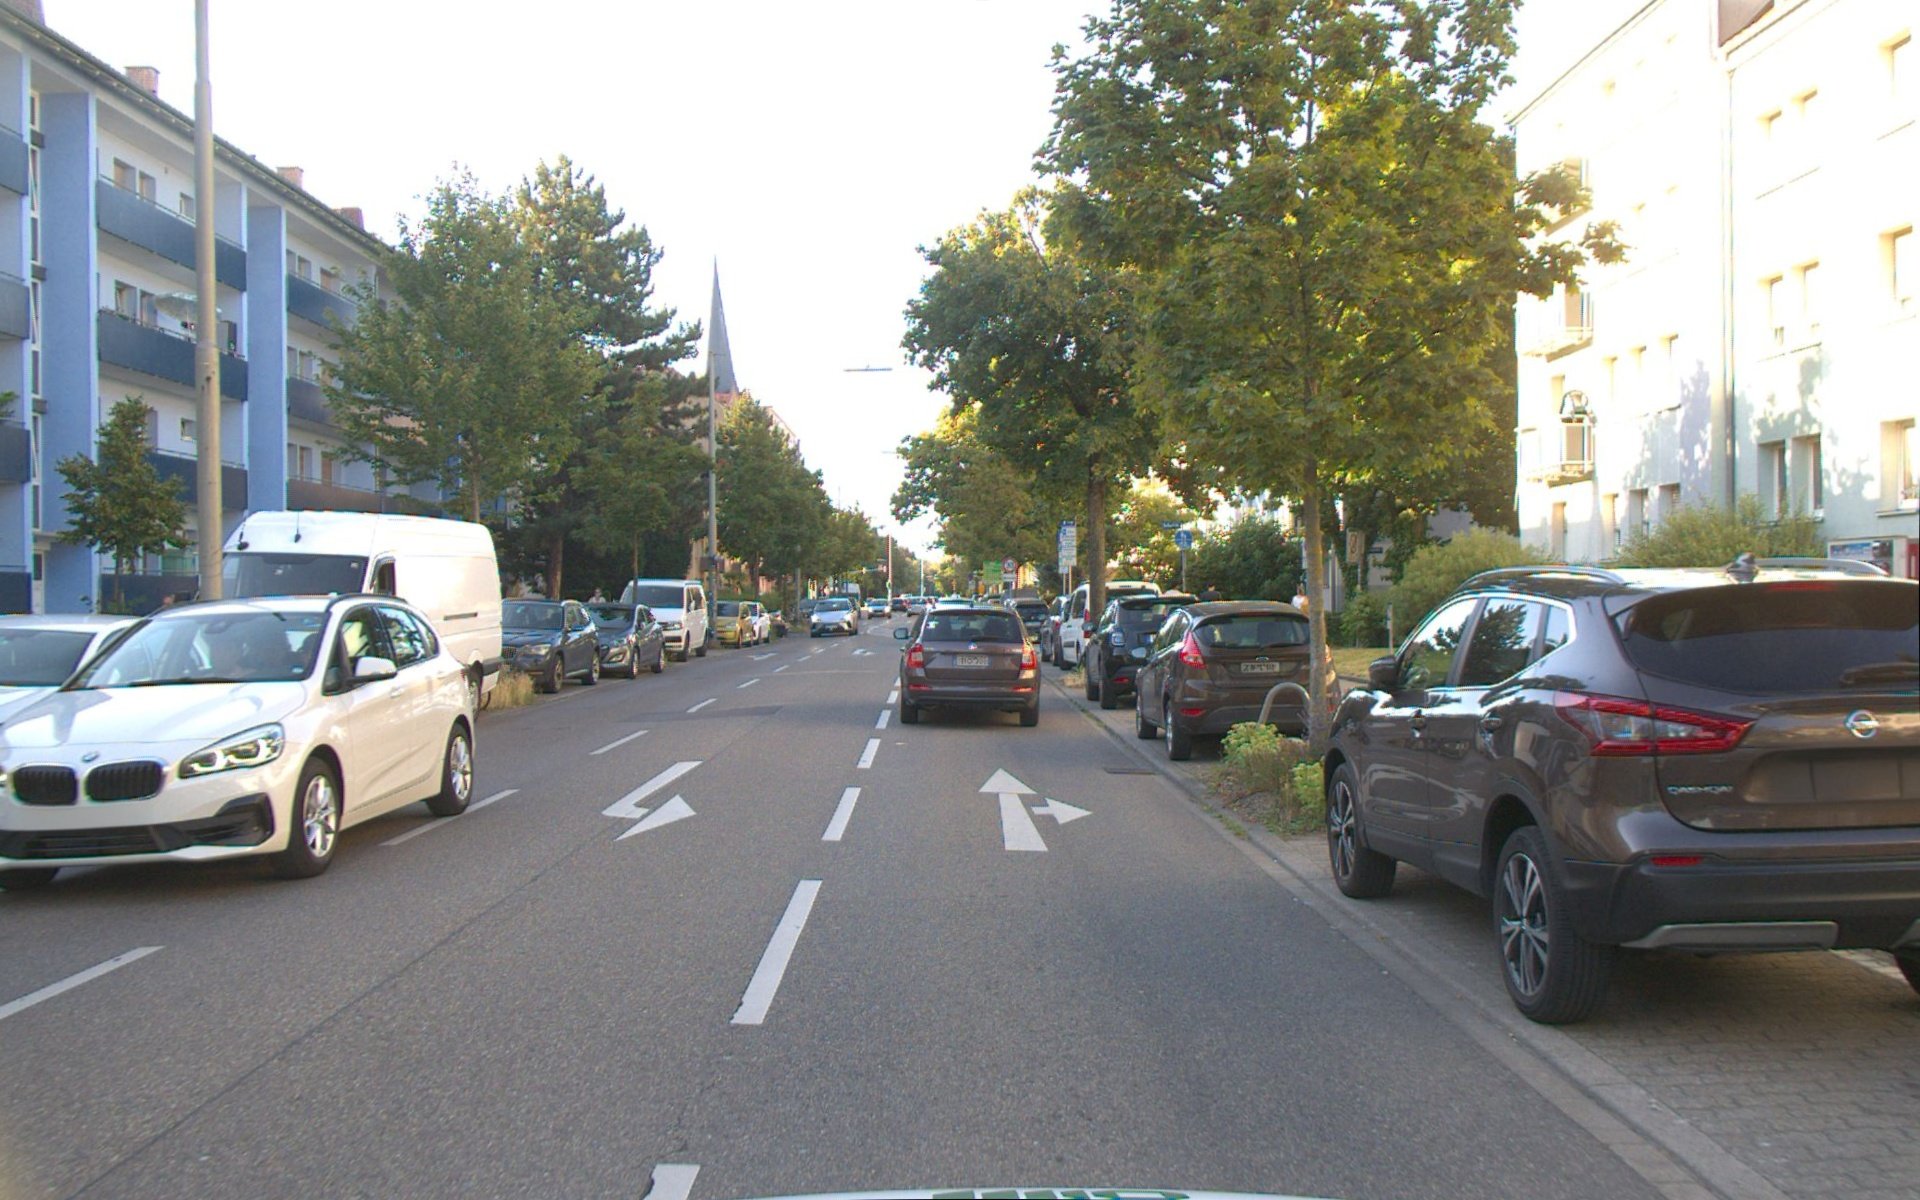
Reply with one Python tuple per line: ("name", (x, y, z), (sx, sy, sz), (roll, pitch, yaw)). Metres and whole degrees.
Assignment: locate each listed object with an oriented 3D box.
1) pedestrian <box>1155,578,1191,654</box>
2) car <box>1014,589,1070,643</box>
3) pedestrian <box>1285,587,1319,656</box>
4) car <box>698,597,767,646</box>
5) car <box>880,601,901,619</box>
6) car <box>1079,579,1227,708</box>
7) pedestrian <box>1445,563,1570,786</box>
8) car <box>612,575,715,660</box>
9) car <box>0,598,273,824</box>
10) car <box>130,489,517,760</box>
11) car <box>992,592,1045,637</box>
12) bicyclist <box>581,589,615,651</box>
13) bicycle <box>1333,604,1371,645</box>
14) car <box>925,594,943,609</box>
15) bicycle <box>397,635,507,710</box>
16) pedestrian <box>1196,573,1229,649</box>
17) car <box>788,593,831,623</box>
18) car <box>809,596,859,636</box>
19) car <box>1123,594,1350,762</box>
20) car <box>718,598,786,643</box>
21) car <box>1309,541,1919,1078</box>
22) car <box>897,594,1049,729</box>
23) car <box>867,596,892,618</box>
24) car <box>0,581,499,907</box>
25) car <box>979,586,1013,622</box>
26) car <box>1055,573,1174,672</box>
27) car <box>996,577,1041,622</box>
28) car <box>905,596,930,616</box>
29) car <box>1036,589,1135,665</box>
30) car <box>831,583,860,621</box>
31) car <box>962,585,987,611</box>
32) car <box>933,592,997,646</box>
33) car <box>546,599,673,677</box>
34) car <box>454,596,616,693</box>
("pedestrian", (5.460, 0.404, 42.401), (0.733, 1.893, 1.067), (-1, 0, -2))
("car", (2.754, 0.518, 56.316), (1.718, 1.716, 4.252), (1, 0, 1))
("pedestrian", (8.920, 0.555, 43.167), (0.781, 1.752, 0.745), (-1, 0, 8))
("car", (-7.304, 0.669, 53.404), (1.585, 1.506, 3.872), (1, 0, 1))
("car", (-7.127, 1.022, 169.385), (1.955, 1.780, 3.995), (0, 0, -6))
("car", (2.740, 0.585, 24.324), (1.718, 1.692, 4.252), (-1, 0, 1))
("pedestrian", (4.371, 0.578, 13.249), (0.771, 1.730, 0.808), (0, -1, 4))
("car", (-7.641, 0.416, 43.075), (1.831, 2.067, 5.299), (0, 0, -1))
("car", (-7.353, 0.776, 13.624), (1.672, 1.518, 4.058), (2, 0, -1))
("car", (-7.248, 0.234, 19.929), (1.953, 2.662, 7.104), (1, 0, -1))
("car", (2.177, 0.541, 62.484), (1.719, 1.584, 4.102), (1, 0, -2))
("bicyclist", (-9.576, 0.533, 43.787), (0.590, 1.621, 0.940), (-1, 0, 7))
("bicycle", (9.492, 0.586, 40.066), (0.465, 0.961, 1.680), (-1, 0, -1))
("car", (-2.766, 0.146, 178.311), (1.613, 1.627, 3.645), (0, 0, -6))
("bicycle", (-7.335, 1.040, 23.892), (1.441, 1.032, 0.440), (1, 0, 7))
("pedestrian", (6.365, 0.271, 41.667), (0.781, 1.893, 0.951), (-1, 0, 10))
("car", (-7.869, 0.397, 86.511), (1.744, 1.506, 4.034), (1, 0, 1))
("car", (-5.158, 0.625, 68.144), (1.744, 1.520, 3.970), (-2, 0, 0))
("car", (2.724, 0.705, 17.078), (1.580, 1.492, 3.958), (-1, 0, -1))
("car", (-7.319, 0.702, 58.512), (1.744, 1.520, 3.972), (1, 0, 1))
("car", (2.851, 0.630, 7.190), (1.683, 1.629, 4.095), (-2, 0, -1))
("car", (0.183, 0.708, 21.071), (1.718, 1.518, 4.000), (1, 0, 1))
("car", (-6.039, 0.501, 124.680), (1.704, 1.505, 4.308), (-3, 0, -1))
("car", (-4.413, 0.709, 10.359), (1.841, 1.570, 4.266), (-2, 0, -1))
("car", (1.851, 0.192, 85.291), (1.718, 1.745, 4.000), (1, 0, 1))
("car", (3.056, 0.420, 33.513), (1.764, 1.840, 4.421), (1, 0, -3))
("car", (2.547, -0.037, 72.760), (1.877, 1.893, 5.633), (0, 0, 1))
("car", (-3.397, 0.456, 131.645), (1.746, 1.506, 3.968), (1, 0, -4))
("car", (2.843, 0.582, 38.267), (1.719, 1.584, 4.249), (-2, 0, -3))
("car", (-8.797, 0.150, 127.751), (1.951, 2.830, 5.502), (1, 0, -1))
("car", (1.039, -0.121, 121.043), (1.718, 1.837, 4.000), (1, 0, 0))
("car", (0.114, 0.613, 52.056), (1.854, 1.532, 3.788), (3, -1, -1))
("car", (-7.204, 0.745, 34.398), (1.657, 1.509, 4.144), (0, 0, 2))
("car", (-7.429, 0.720, 29.312), (1.637, 1.570, 4.473), (-1, 0, 1))
